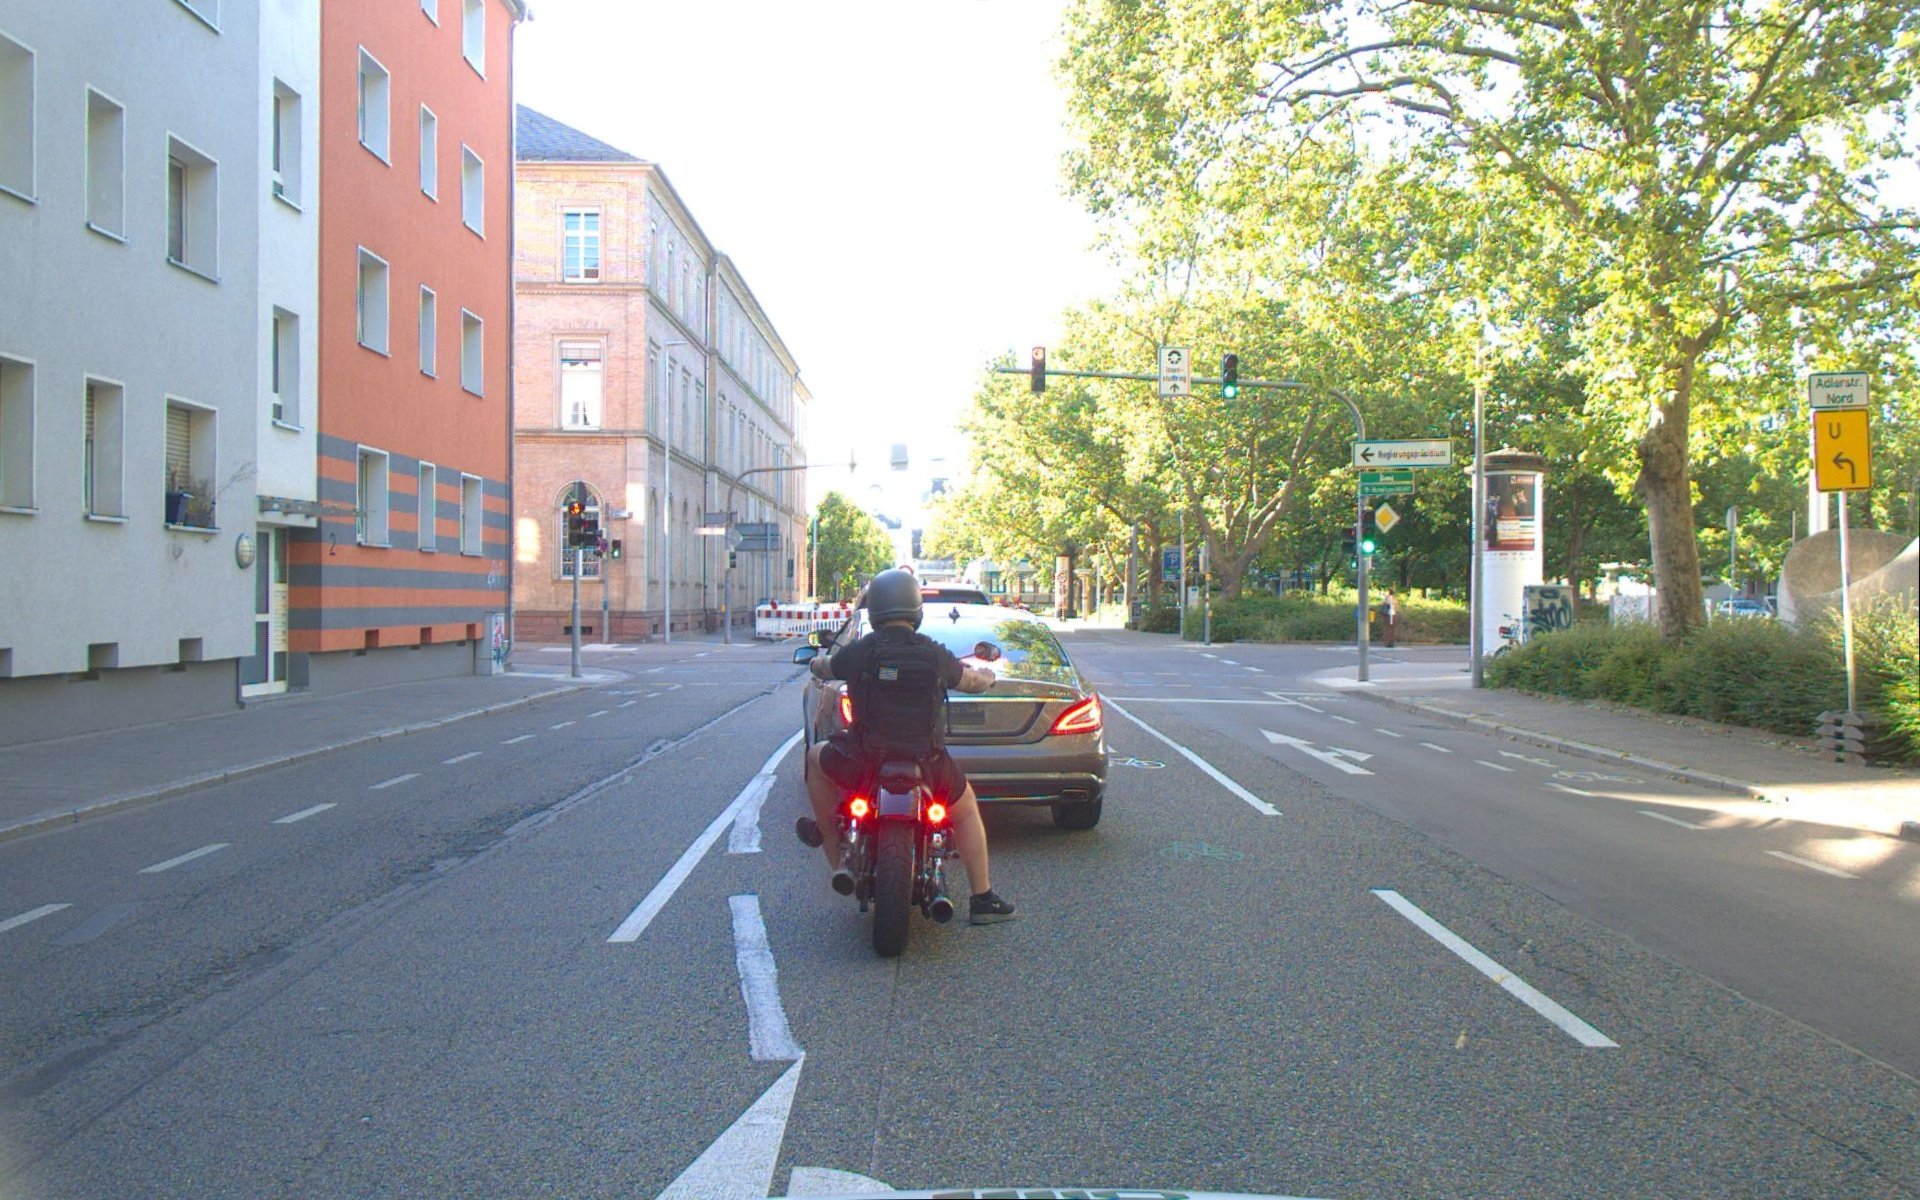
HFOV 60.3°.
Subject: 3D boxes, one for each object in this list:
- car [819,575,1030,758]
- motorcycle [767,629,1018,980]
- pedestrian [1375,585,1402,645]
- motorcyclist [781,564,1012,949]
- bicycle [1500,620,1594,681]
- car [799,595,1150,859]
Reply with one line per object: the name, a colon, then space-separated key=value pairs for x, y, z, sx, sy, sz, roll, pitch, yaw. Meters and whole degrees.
car: x=-0.361 y=0.633 z=17.541 sx=1.953 sy=1.695 sz=3.999 roll=1 pitch=0 yaw=-1
motorcycle: x=-0.275 y=0.806 z=7.559 sx=0.961 sy=1.297 sz=2.407 roll=0 pitch=0 yaw=-1
pedestrian: x=13.167 y=0.463 z=50.798 sx=0.664 sy=1.803 sz=0.616 roll=1 pitch=-1 yaw=29
motorcyclist: x=-0.273 y=0.650 z=7.535 sx=0.961 sy=1.606 sz=1.248 roll=0 pitch=0 yaw=-1
bicycle: x=9.789 y=0.838 z=27.598 sx=1.452 sy=0.997 sz=0.299 roll=1 pitch=-1 yaw=5
car: x=-0.112 y=0.709 z=11.622 sx=1.834 sy=1.469 sz=4.422 roll=0 pitch=0 yaw=-8
